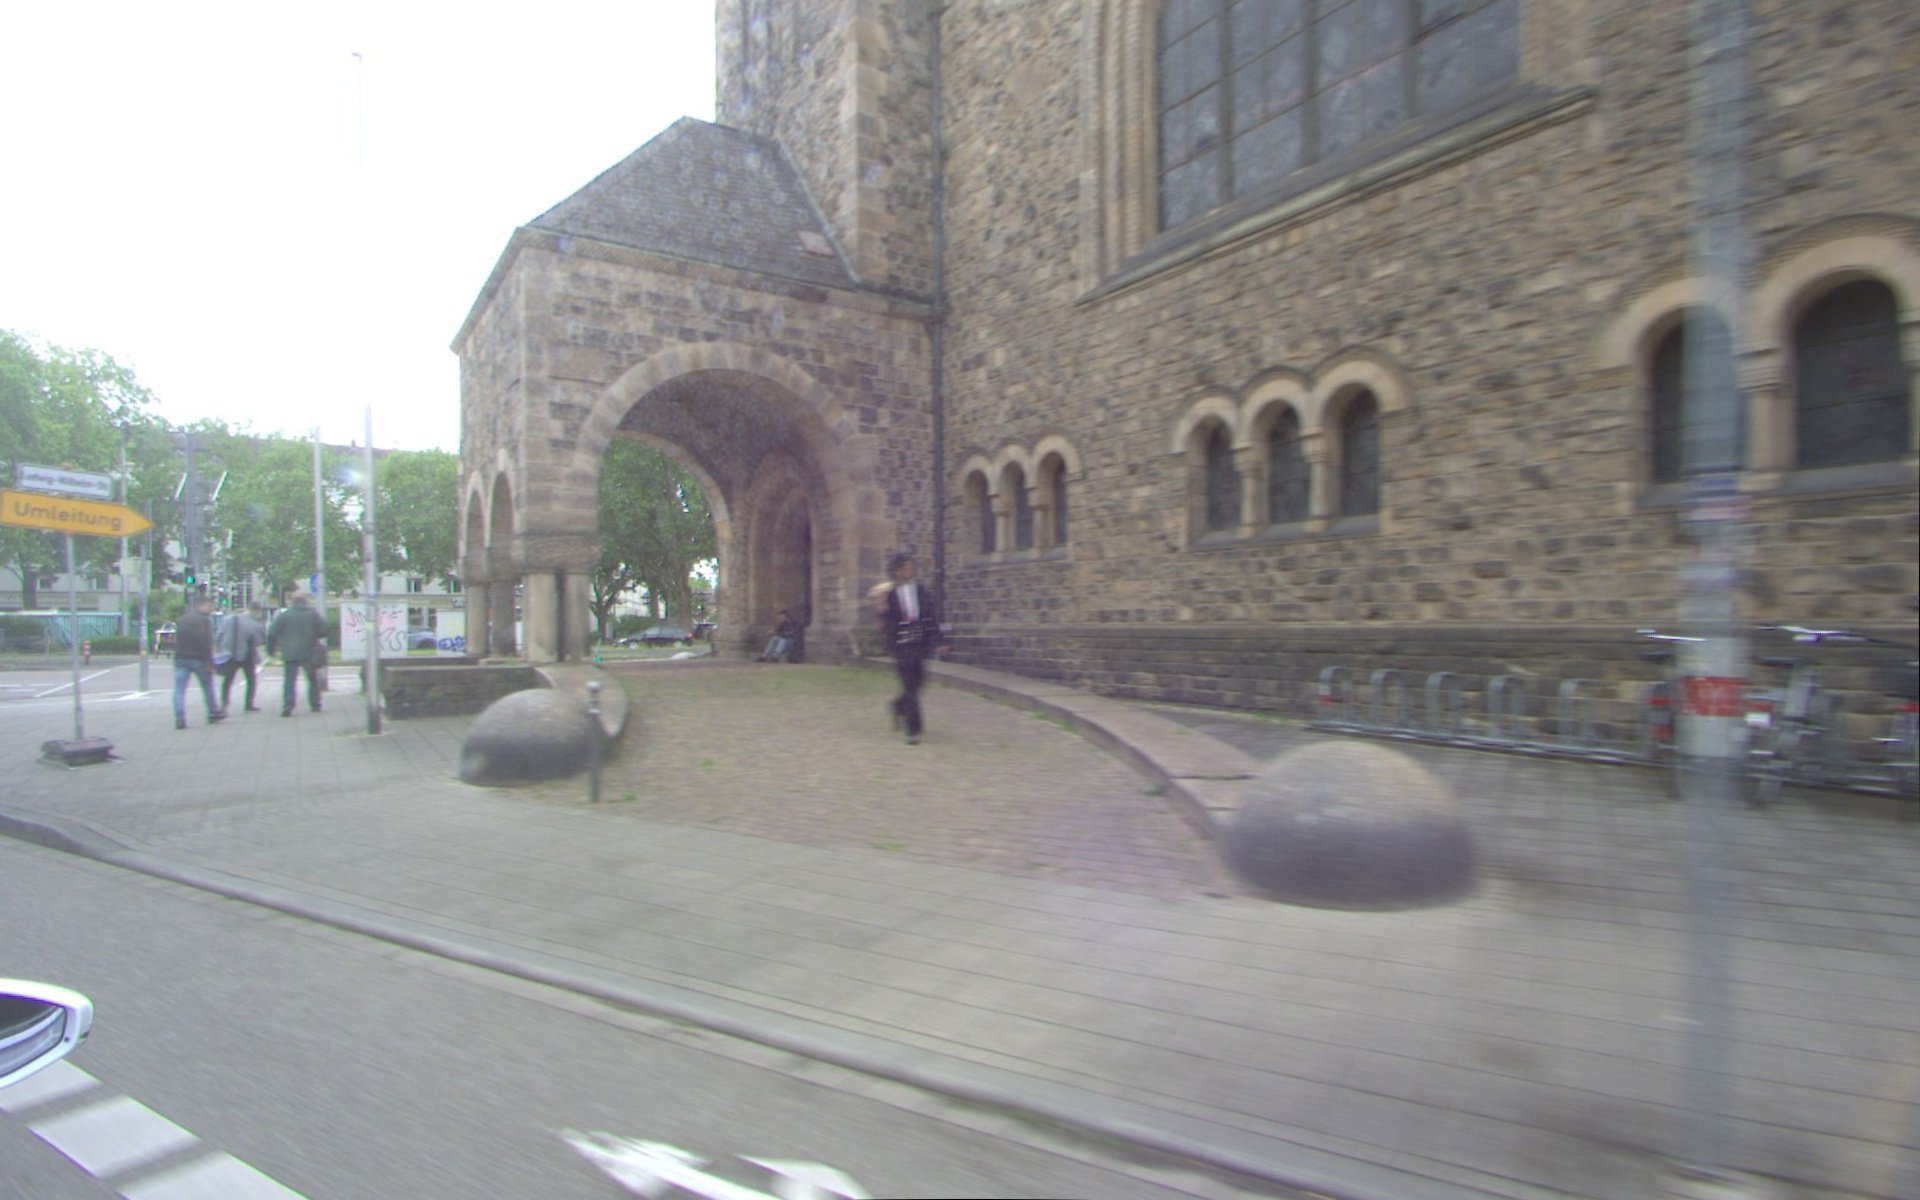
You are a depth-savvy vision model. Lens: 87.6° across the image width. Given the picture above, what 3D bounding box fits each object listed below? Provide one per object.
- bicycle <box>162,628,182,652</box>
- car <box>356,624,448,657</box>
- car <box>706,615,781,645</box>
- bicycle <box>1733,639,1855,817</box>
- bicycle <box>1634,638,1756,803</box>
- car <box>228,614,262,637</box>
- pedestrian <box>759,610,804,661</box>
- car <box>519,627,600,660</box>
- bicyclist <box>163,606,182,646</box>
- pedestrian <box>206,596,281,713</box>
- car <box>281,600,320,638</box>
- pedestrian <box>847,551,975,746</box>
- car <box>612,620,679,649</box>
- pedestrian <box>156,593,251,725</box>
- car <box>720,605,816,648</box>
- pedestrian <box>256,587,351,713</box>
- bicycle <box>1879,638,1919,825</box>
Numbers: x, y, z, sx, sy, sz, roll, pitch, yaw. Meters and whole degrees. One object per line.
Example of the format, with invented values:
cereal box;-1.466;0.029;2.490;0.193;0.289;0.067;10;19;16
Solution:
bicycle;-33.358;1.676;42.411;0.546;1.008;2.047;0;-1;-35
car;-28.387;2.019;50.974;3.938;1.581;1.676;0;-1;-35
car;-15.834;2.149;73.448;5.023;2.123;1.979;0;-1;-35
bicycle;5.634;0.815;6.743;1.366;1.074;0.309;0;0;-36
bicycle;5.277;0.818;7.166;1.366;1.074;0.309;0;0;-36
car;-49.590;1.735;69.506;1.647;1.535;3.916;0;-1;-31
pedestrian;-3.452;0.675;19.345;0.665;0.964;0.611;0;0;-36
car;-22.203;2.374;55.543;3.899;1.733;1.676;0;-1;-35
bicyclist;-33.305;1.097;42.370;0.608;1.675;0.749;0;0;-36
pedestrian;-10.815;0.796;15.118;0.957;1.696;0.630;0;2;39
car;-48.467;1.419;73.674;2.211;2.673;5.417;0;-1;-31
pedestrian;-0.509;0.449;10.107;0.806;1.834;1.011;0;4;-37
car;-18.260;1.996;58.175;3.423;1.581;1.676;0;-1;-35
pedestrian;-10.184;0.767;13.485;0.955;1.709;0.672;0;2;32
car;-11.898;1.618;62.199;5.539;2.571;1.979;0;-1;-35
pedestrian;-9.708;0.717;14.816;0.955;1.782;0.802;0;2;32
bicycle;6.125;0.781;6.253;1.366;1.074;0.309;0;0;-36
